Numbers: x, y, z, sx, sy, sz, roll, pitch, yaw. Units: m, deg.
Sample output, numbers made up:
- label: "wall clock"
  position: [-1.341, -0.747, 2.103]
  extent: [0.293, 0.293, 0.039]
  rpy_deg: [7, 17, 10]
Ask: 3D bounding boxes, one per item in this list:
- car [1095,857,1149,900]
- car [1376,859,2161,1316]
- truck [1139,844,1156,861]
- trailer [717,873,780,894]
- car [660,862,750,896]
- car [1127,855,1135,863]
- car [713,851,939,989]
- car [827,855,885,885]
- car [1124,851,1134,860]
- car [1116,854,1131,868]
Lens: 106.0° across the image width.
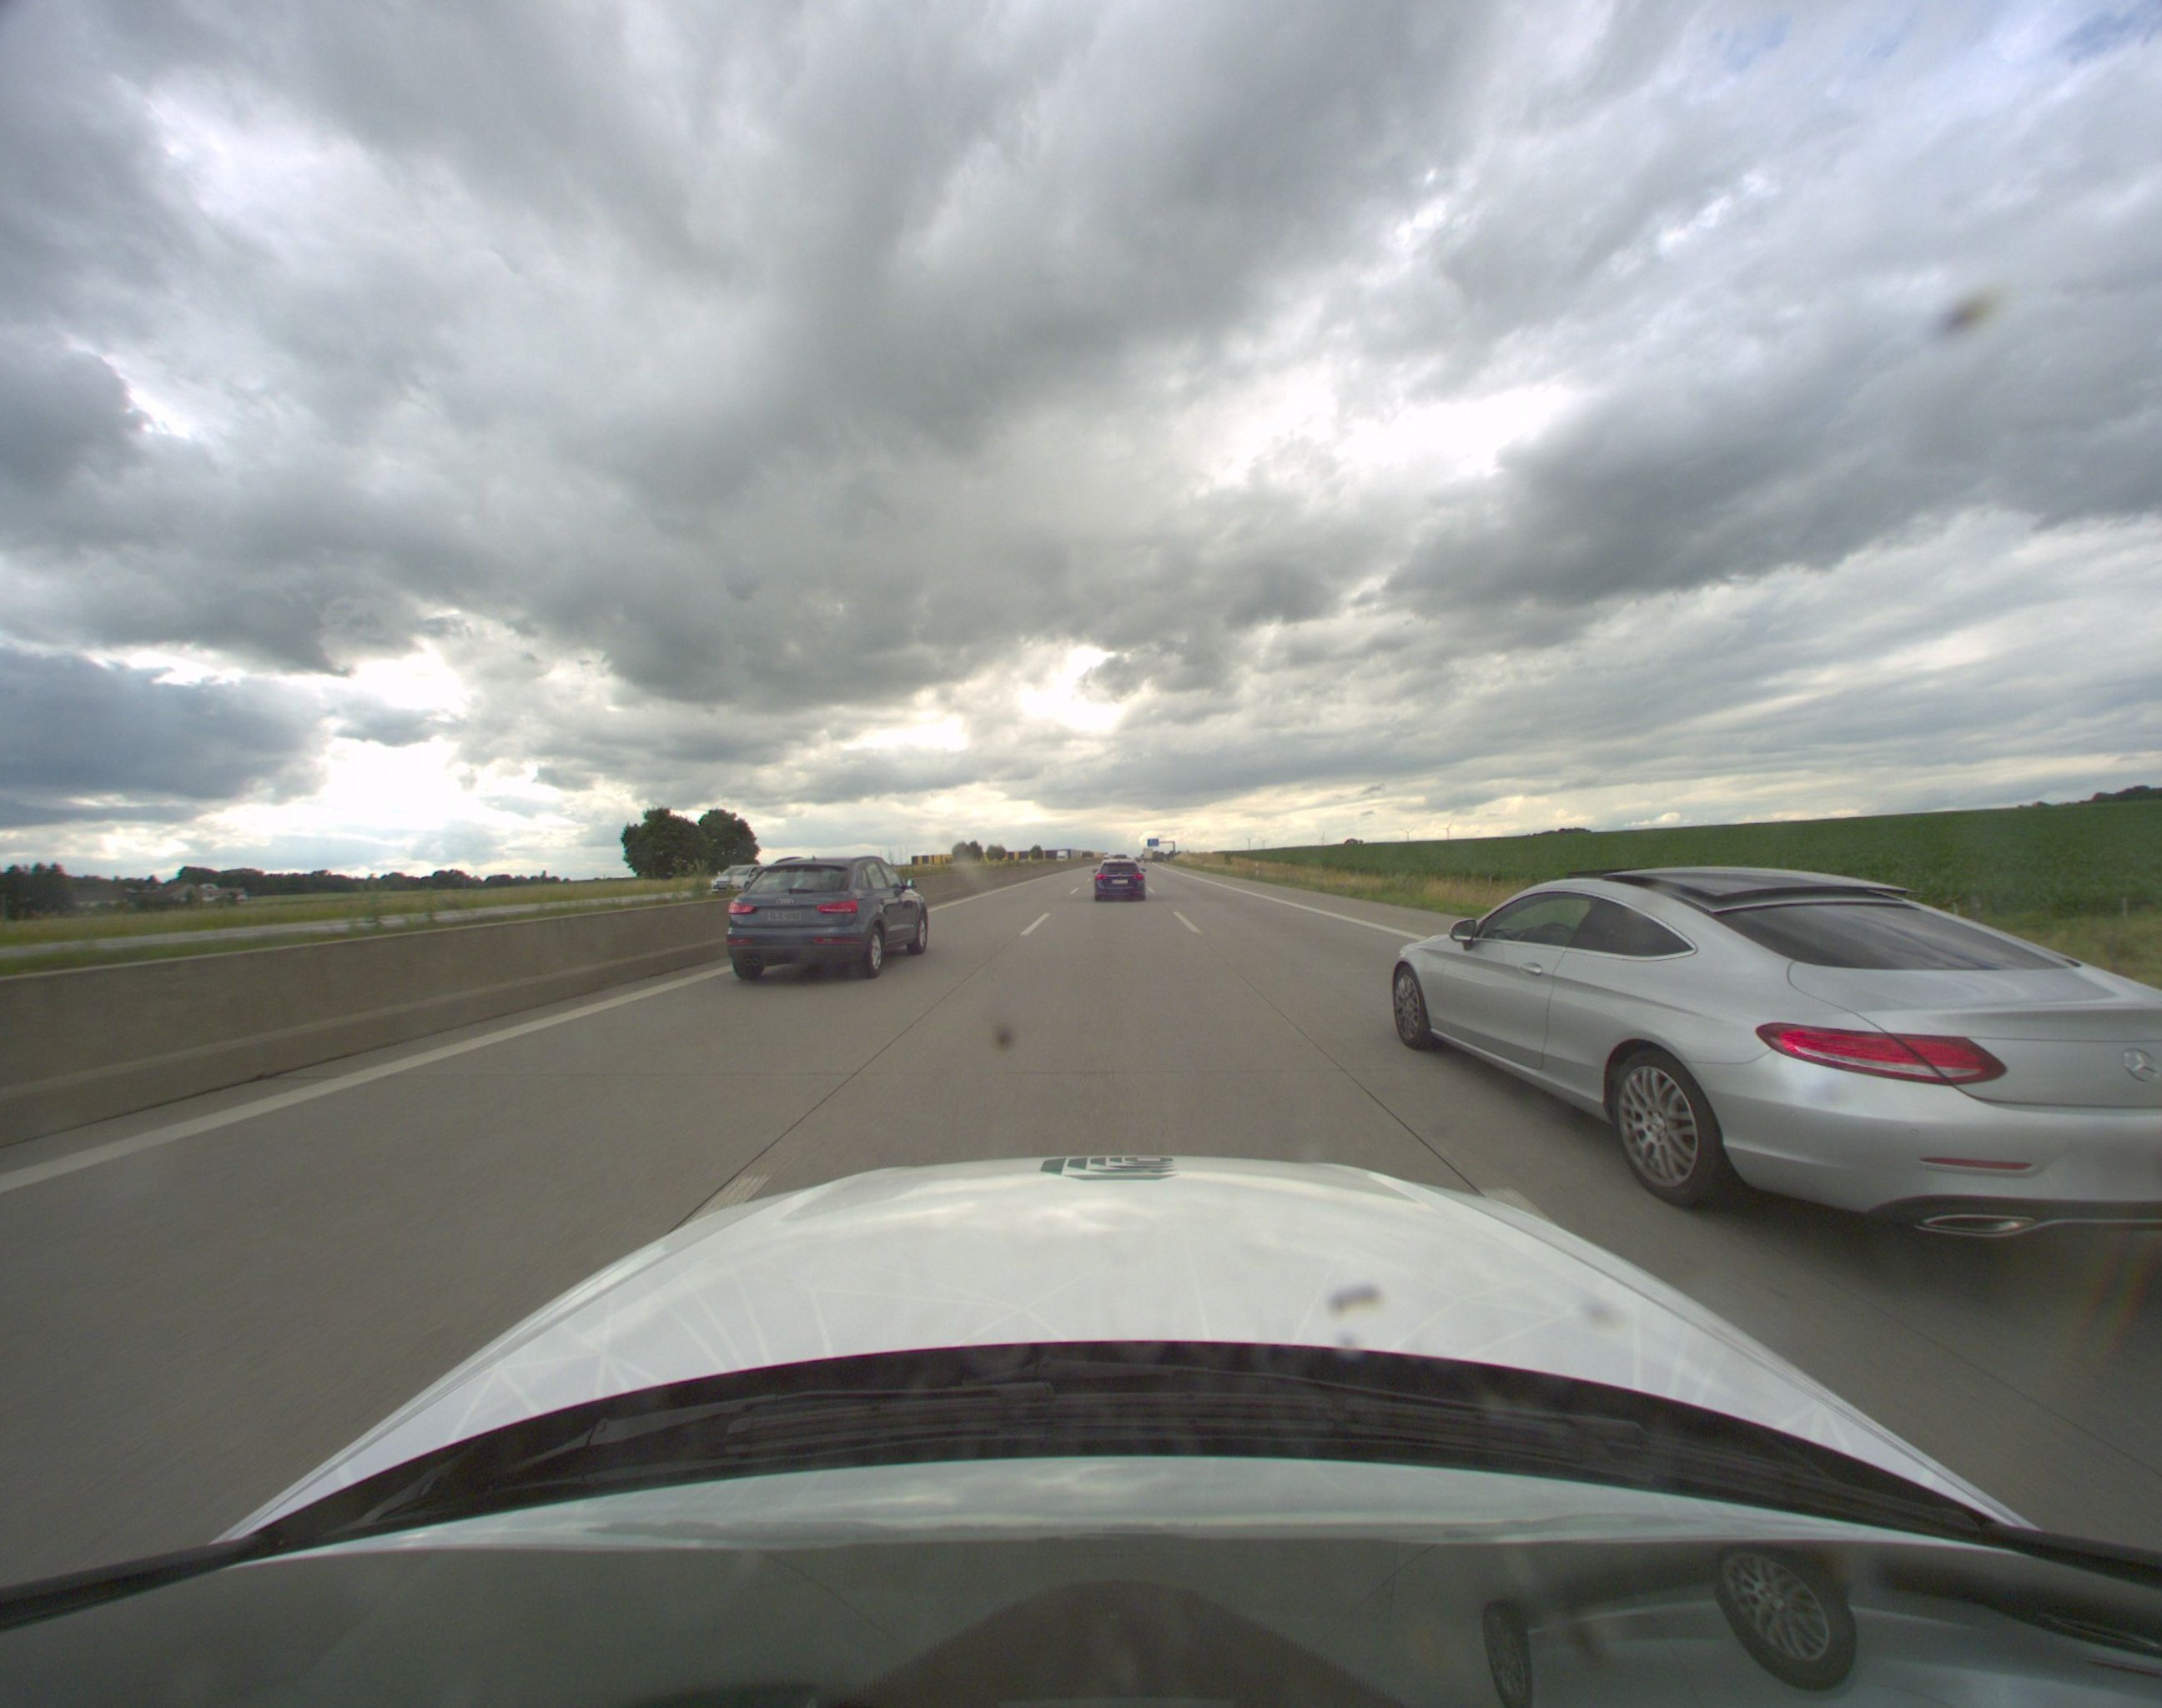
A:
- label: "car"
  position: [1.416, 0.841, 29.246]
  extent: [1.768, 1.413, 4.000]
  rpy_deg: [-1, -1, 1]
- label: "car"
  position: [3.331, 0.750, 4.673]
  extent: [1.782, 1.403, 4.221]
  rpy_deg: [-1, -1, 1]
- label: "truck"
  position: [18.987, -0.304, 233.937]
  extent: [3.937, 4.756, 12.075]
  rpy_deg: [0, -1, 1]
- label: "trailer"
  position: [-17.548, 1.542, 43.123]
  extent: [1.780, 0.983, 3.565]
  rpy_deg: [0, -1, 2]
- label: "car"
  position: [-17.794, 1.160, 38.849]
  extent: [1.890, 1.470, 4.852]
  rpy_deg: [0, -1, 2]
- label: "car"
  position: [14.170, 1.453, 229.201]
  extent: [1.987, 2.014, 4.000]
  rpy_deg: [0, -1, 1]
- label: "car"
  position: [-3.423, 0.773, 12.080]
  extent: [1.787, 1.596, 5.154]
  rpy_deg: [0, 0, -1]
- label: "car"
  position: [-13.124, 0.942, 47.785]
  extent: [1.894, 1.694, 4.677]
  rpy_deg: [0, -1, 2]
- label: "car"
  position: [10.603, 0.414, 179.677]
  extent: [1.986, 2.014, 4.002]
  rpy_deg: [0, 0, 2]
- label: "car"
  position: [6.081, 0.981, 116.949]
  extent: [1.988, 2.014, 3.998]
  rpy_deg: [0, -1, -1]
